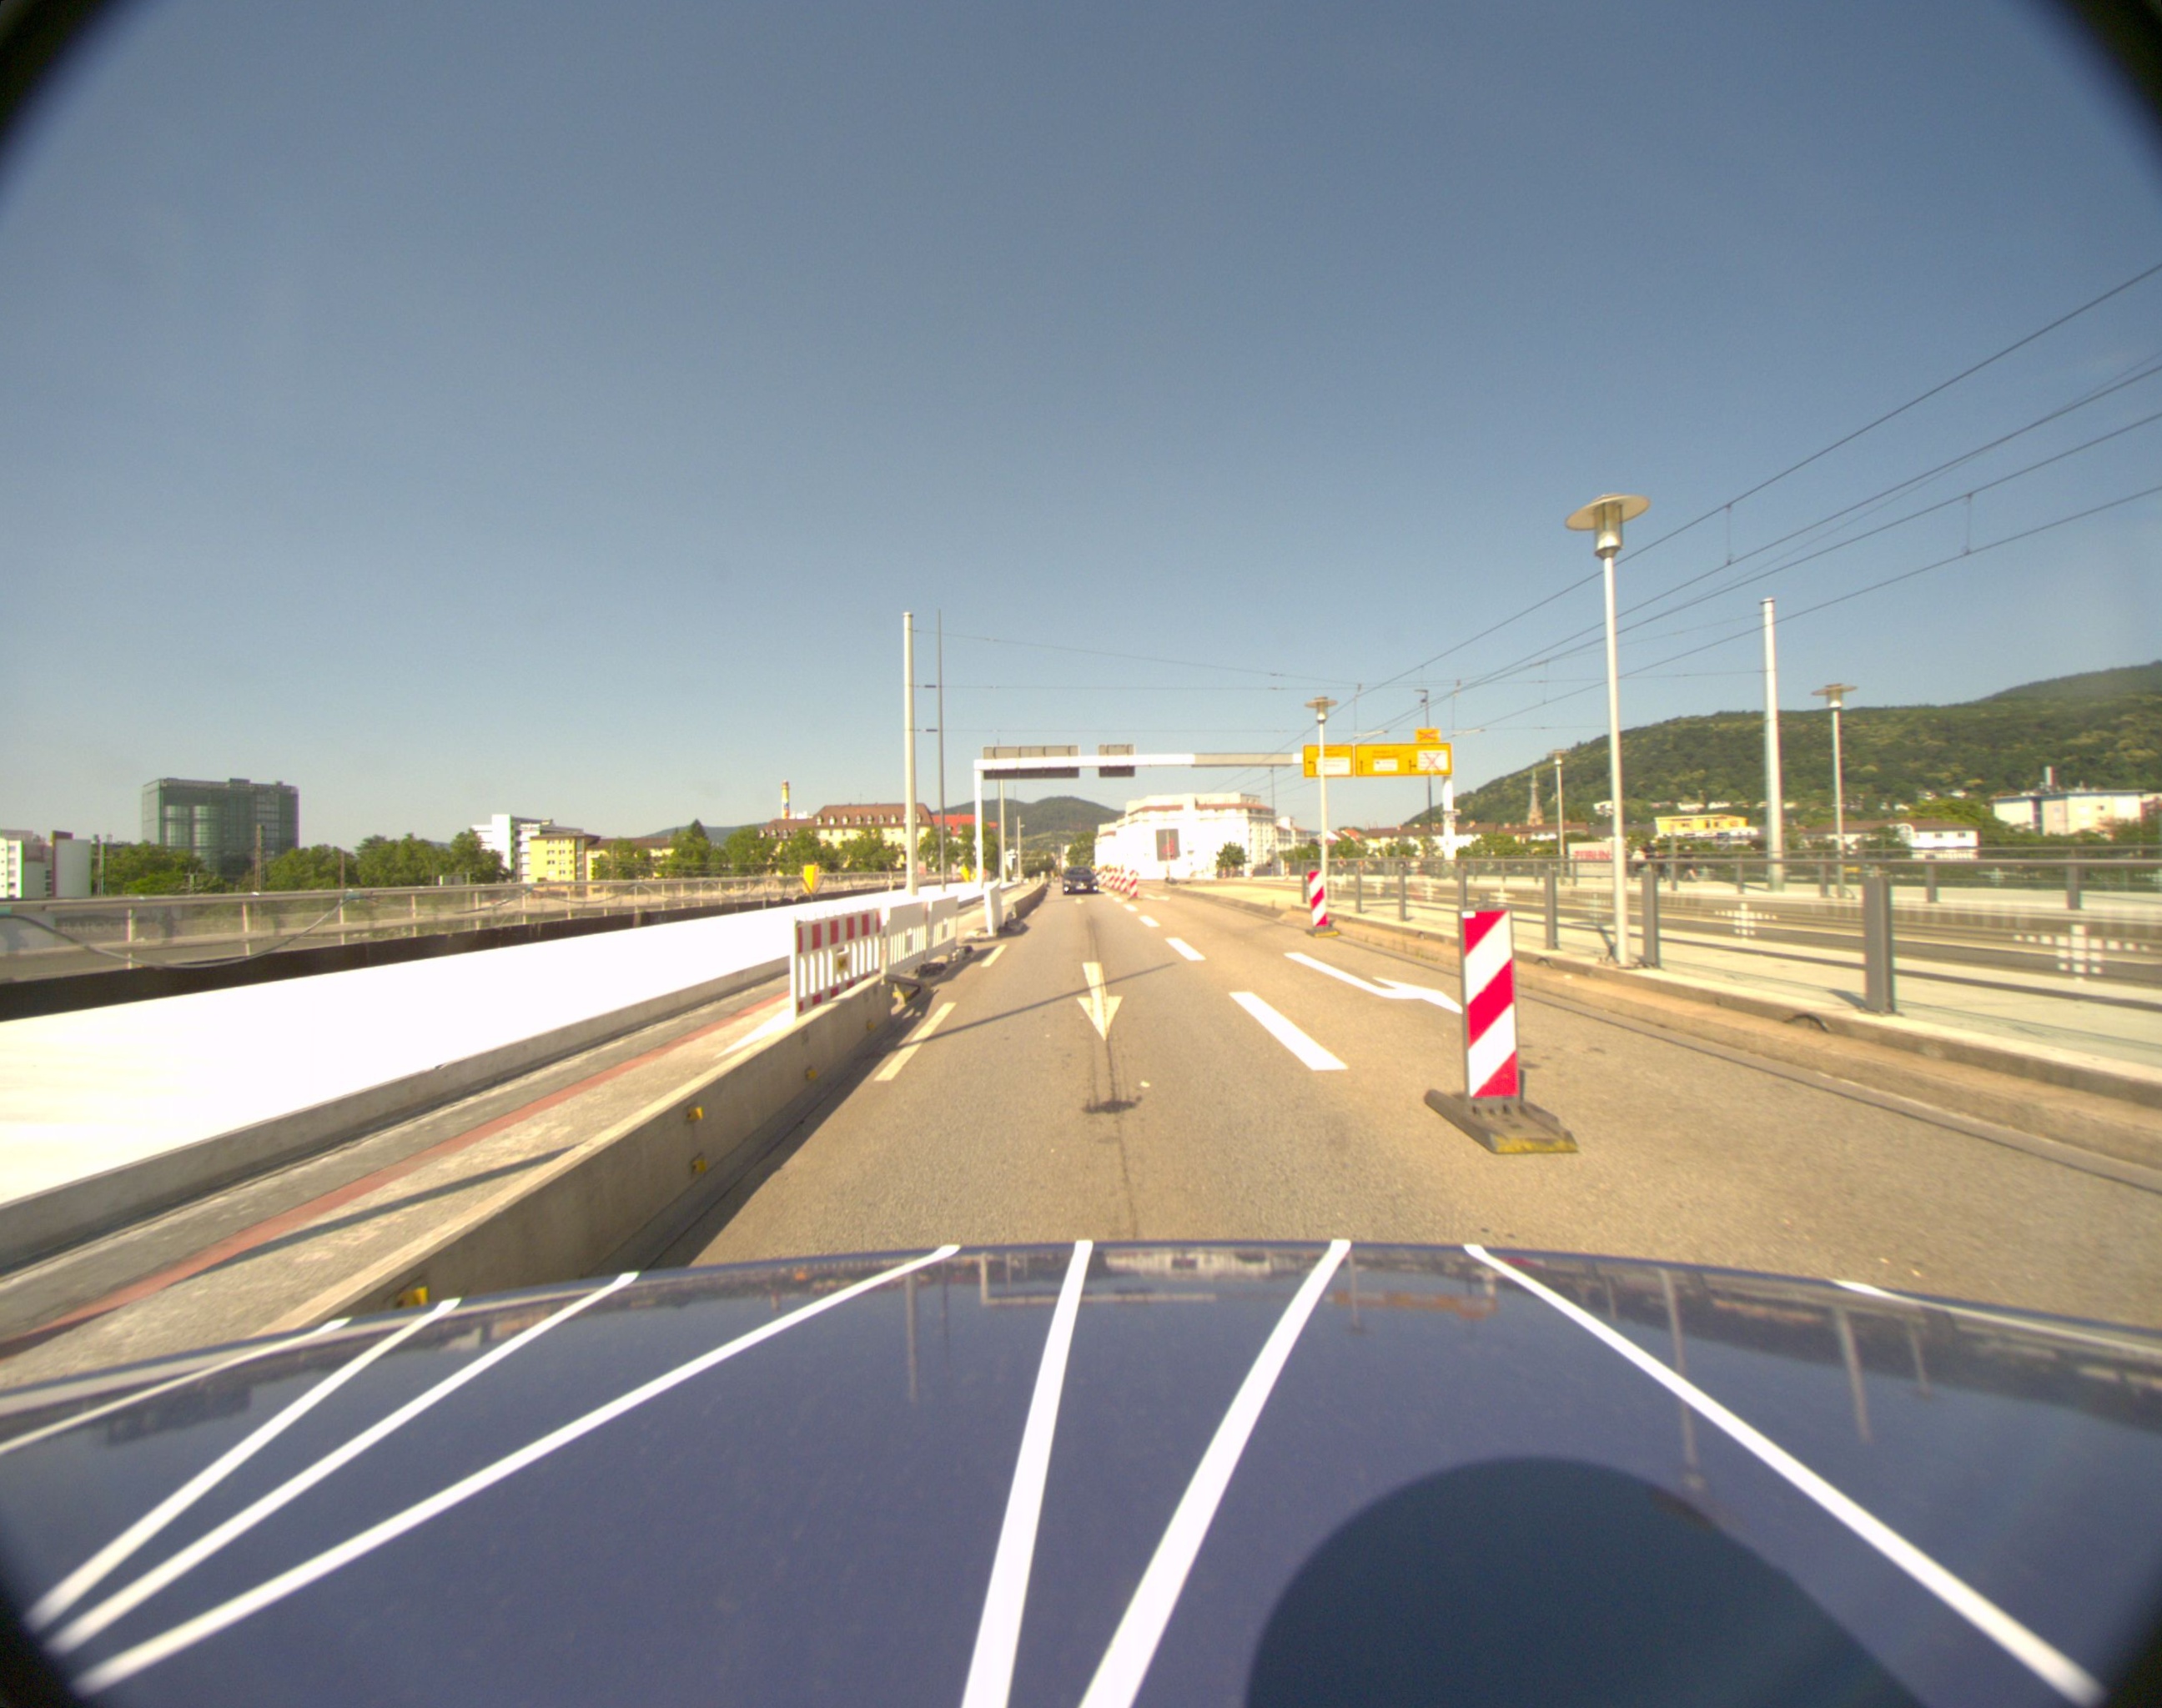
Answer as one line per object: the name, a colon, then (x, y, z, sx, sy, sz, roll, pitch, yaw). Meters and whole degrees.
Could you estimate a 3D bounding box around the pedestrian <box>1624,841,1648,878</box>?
pedestrian: (25.701, 0.263, 35.199, 0.487, 1.677, 0.808, -1, -1, 0)

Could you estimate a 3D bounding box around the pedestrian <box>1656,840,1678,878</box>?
pedestrian: (26.306, 0.247, 34.116, 0.384, 1.677, 0.770, -1, -1, 0)

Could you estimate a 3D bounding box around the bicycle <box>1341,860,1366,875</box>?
bicycle: (23.649, 1.179, 66.087, 0.858, 1.187, 3.072, -2, -1, -4)

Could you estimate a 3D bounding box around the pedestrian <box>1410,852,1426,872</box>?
pedestrian: (25.848, 0.628, 58.287, 0.721, 1.535, 0.889, -4, -1, -3)

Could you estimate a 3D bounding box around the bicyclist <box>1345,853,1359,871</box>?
bicyclist: (23.628, 0.684, 66.240, 0.858, 1.510, 0.817, -2, -1, -4)

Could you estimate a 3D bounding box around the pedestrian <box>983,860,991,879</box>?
pedestrian: (-9.558, 1.596, 77.029, 0.733, 1.953, 1.016, 0, -1, -3)

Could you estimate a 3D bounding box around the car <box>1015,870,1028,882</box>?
car: (-10.929, 4.157, 140.555, 1.938, 2.077, 6.472, -2, -2, -1)

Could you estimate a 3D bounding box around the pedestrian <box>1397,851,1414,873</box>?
pedestrian: (24.958, 0.635, 58.424, 0.746, 1.631, 0.895, -4, -1, -3)

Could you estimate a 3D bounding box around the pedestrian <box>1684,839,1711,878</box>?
pedestrian: (26.637, 0.196, 32.830, 0.505, 1.677, 0.773, -1, -1, 0)

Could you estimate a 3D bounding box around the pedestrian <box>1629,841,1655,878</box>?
pedestrian: (26.317, 0.260, 35.652, 0.599, 1.677, 0.818, -1, -1, 0)

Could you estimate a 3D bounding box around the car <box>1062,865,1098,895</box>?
car: (-0.063, 1.319, 39.203, 1.698, 1.388, 4.363, -3, -1, 0)

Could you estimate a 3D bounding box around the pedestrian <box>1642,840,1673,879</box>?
pedestrian: (25.600, 0.252, 33.757, 0.754, 1.677, 0.732, -1, -1, 0)
